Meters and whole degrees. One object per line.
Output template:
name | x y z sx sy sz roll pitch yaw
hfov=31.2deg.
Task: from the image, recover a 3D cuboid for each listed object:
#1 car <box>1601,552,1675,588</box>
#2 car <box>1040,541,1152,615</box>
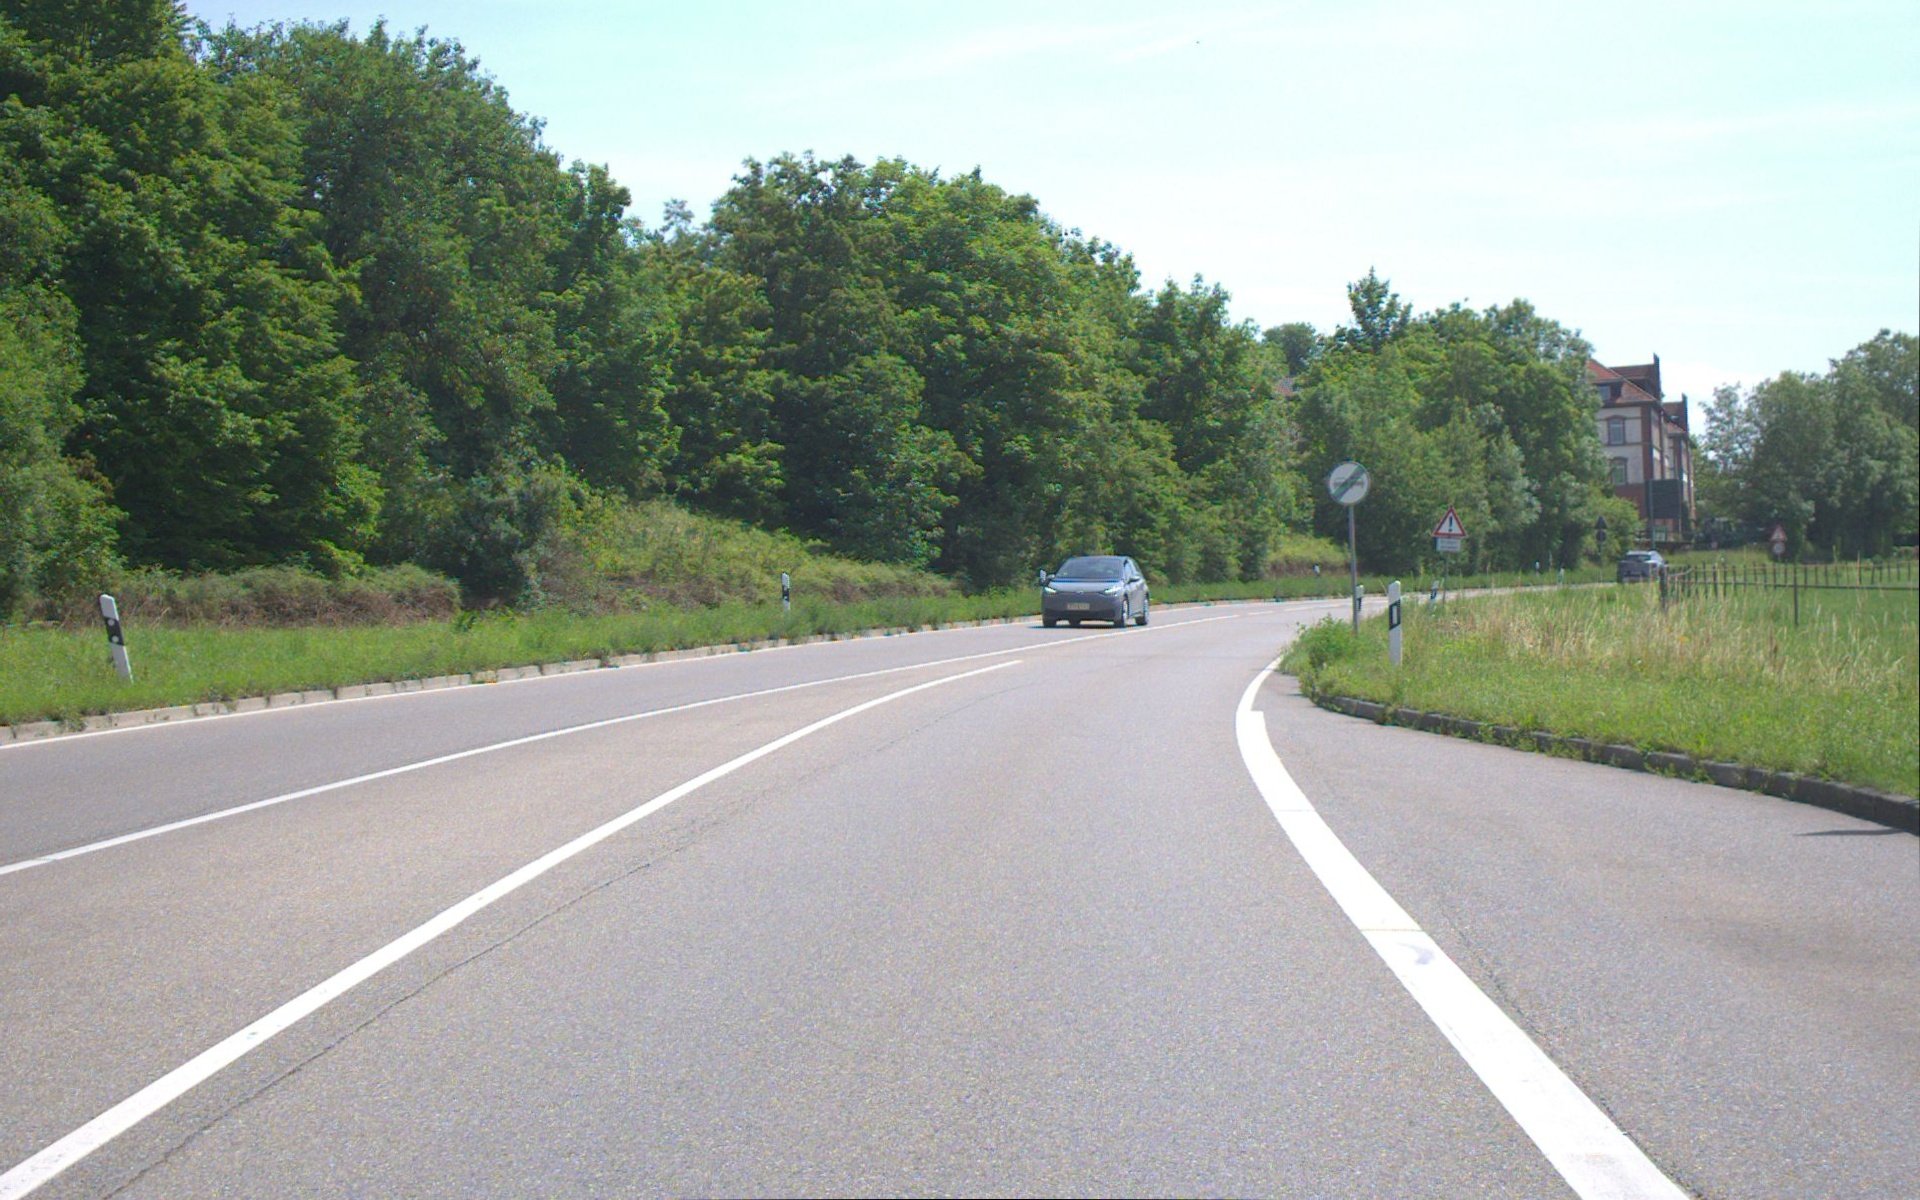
car | 29.643 -1.327 150.325 1.997 1.568 3.993 0 1 30
car | 2.977 -0.481 74.561 1.755 1.529 4.226 1 1 11
